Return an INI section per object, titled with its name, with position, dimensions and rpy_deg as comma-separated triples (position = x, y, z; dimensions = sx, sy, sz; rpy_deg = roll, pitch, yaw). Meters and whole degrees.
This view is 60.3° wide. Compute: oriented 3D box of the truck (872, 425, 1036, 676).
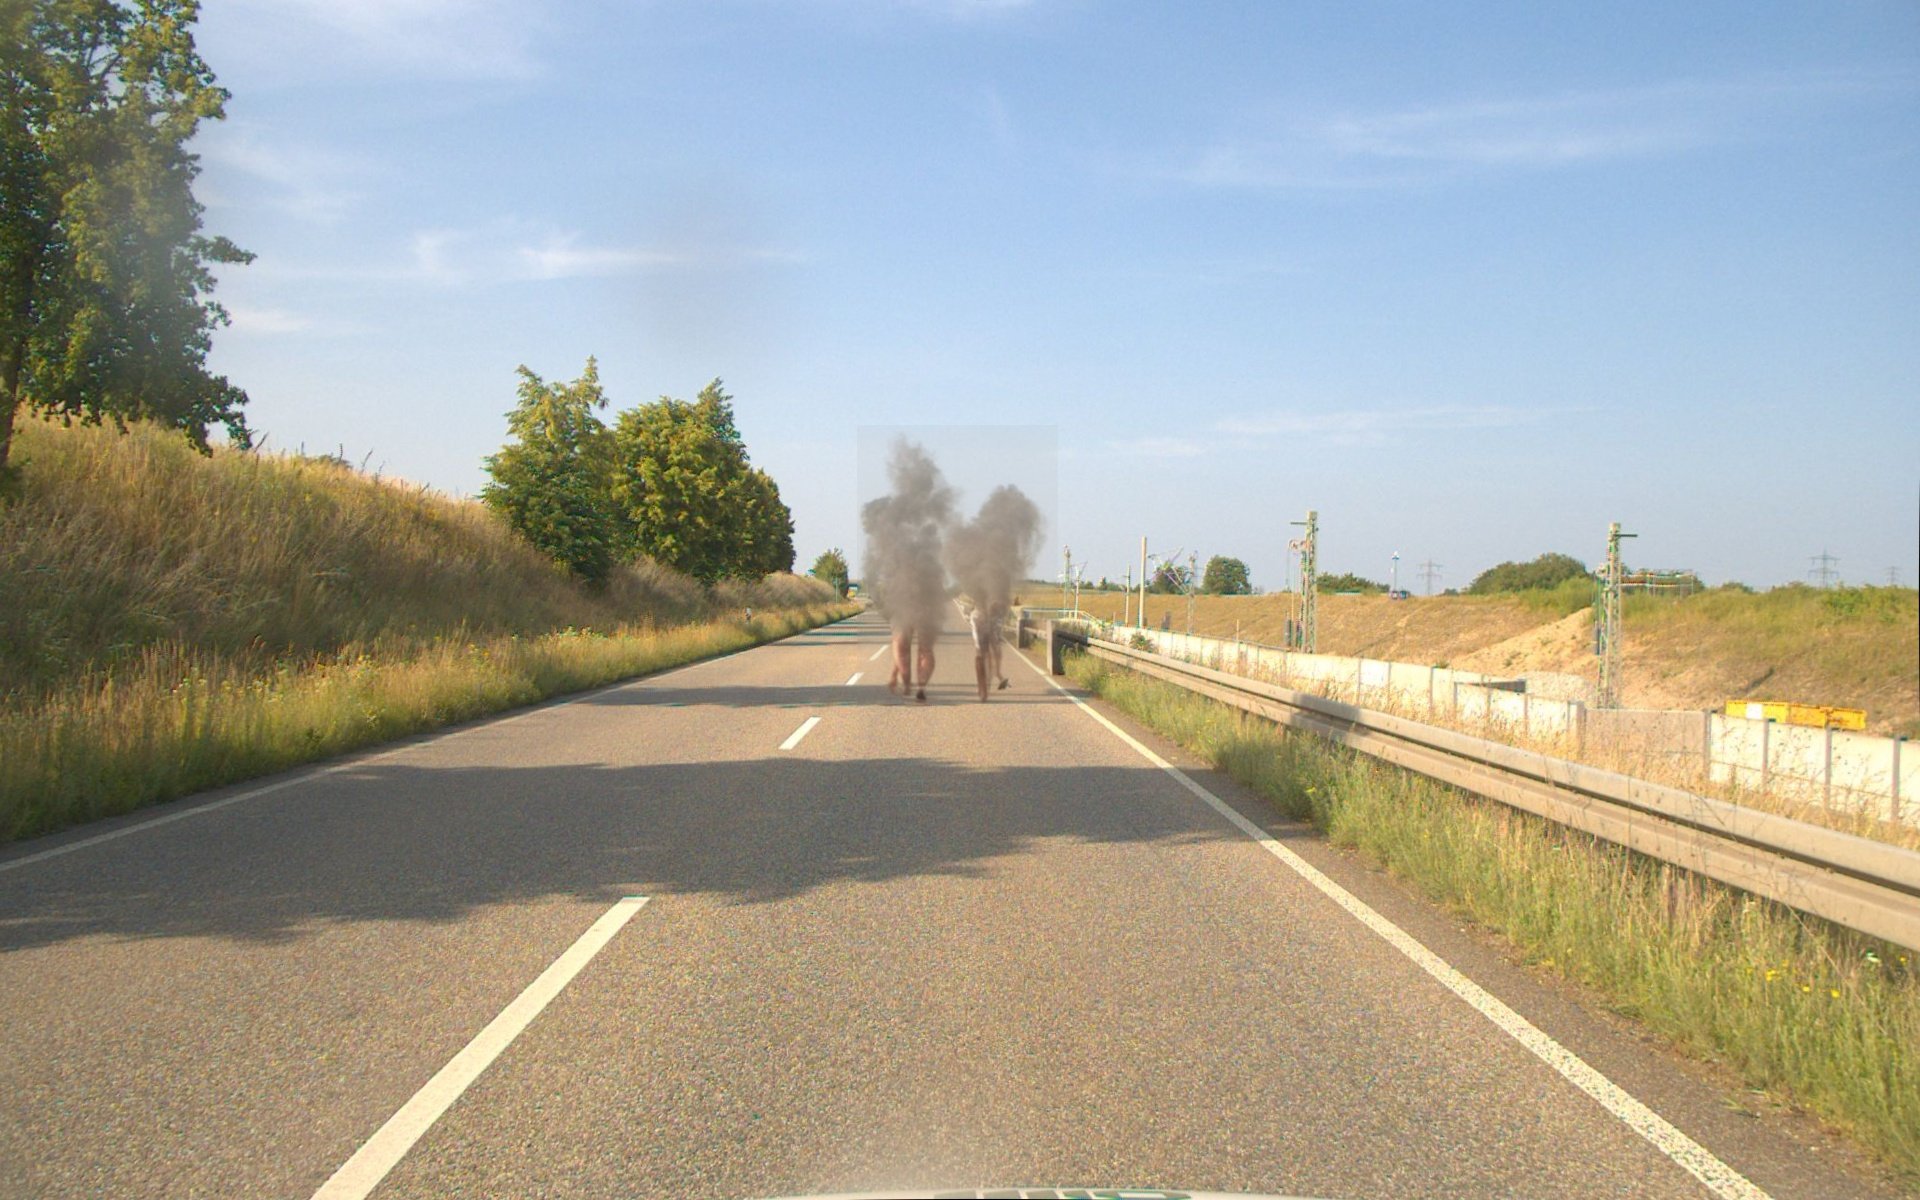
[truck]
position = -0.113, -0.962, 35.945
dimensions = 3.088, 4.770, 8.441
rpy_deg = 1, 0, 0
